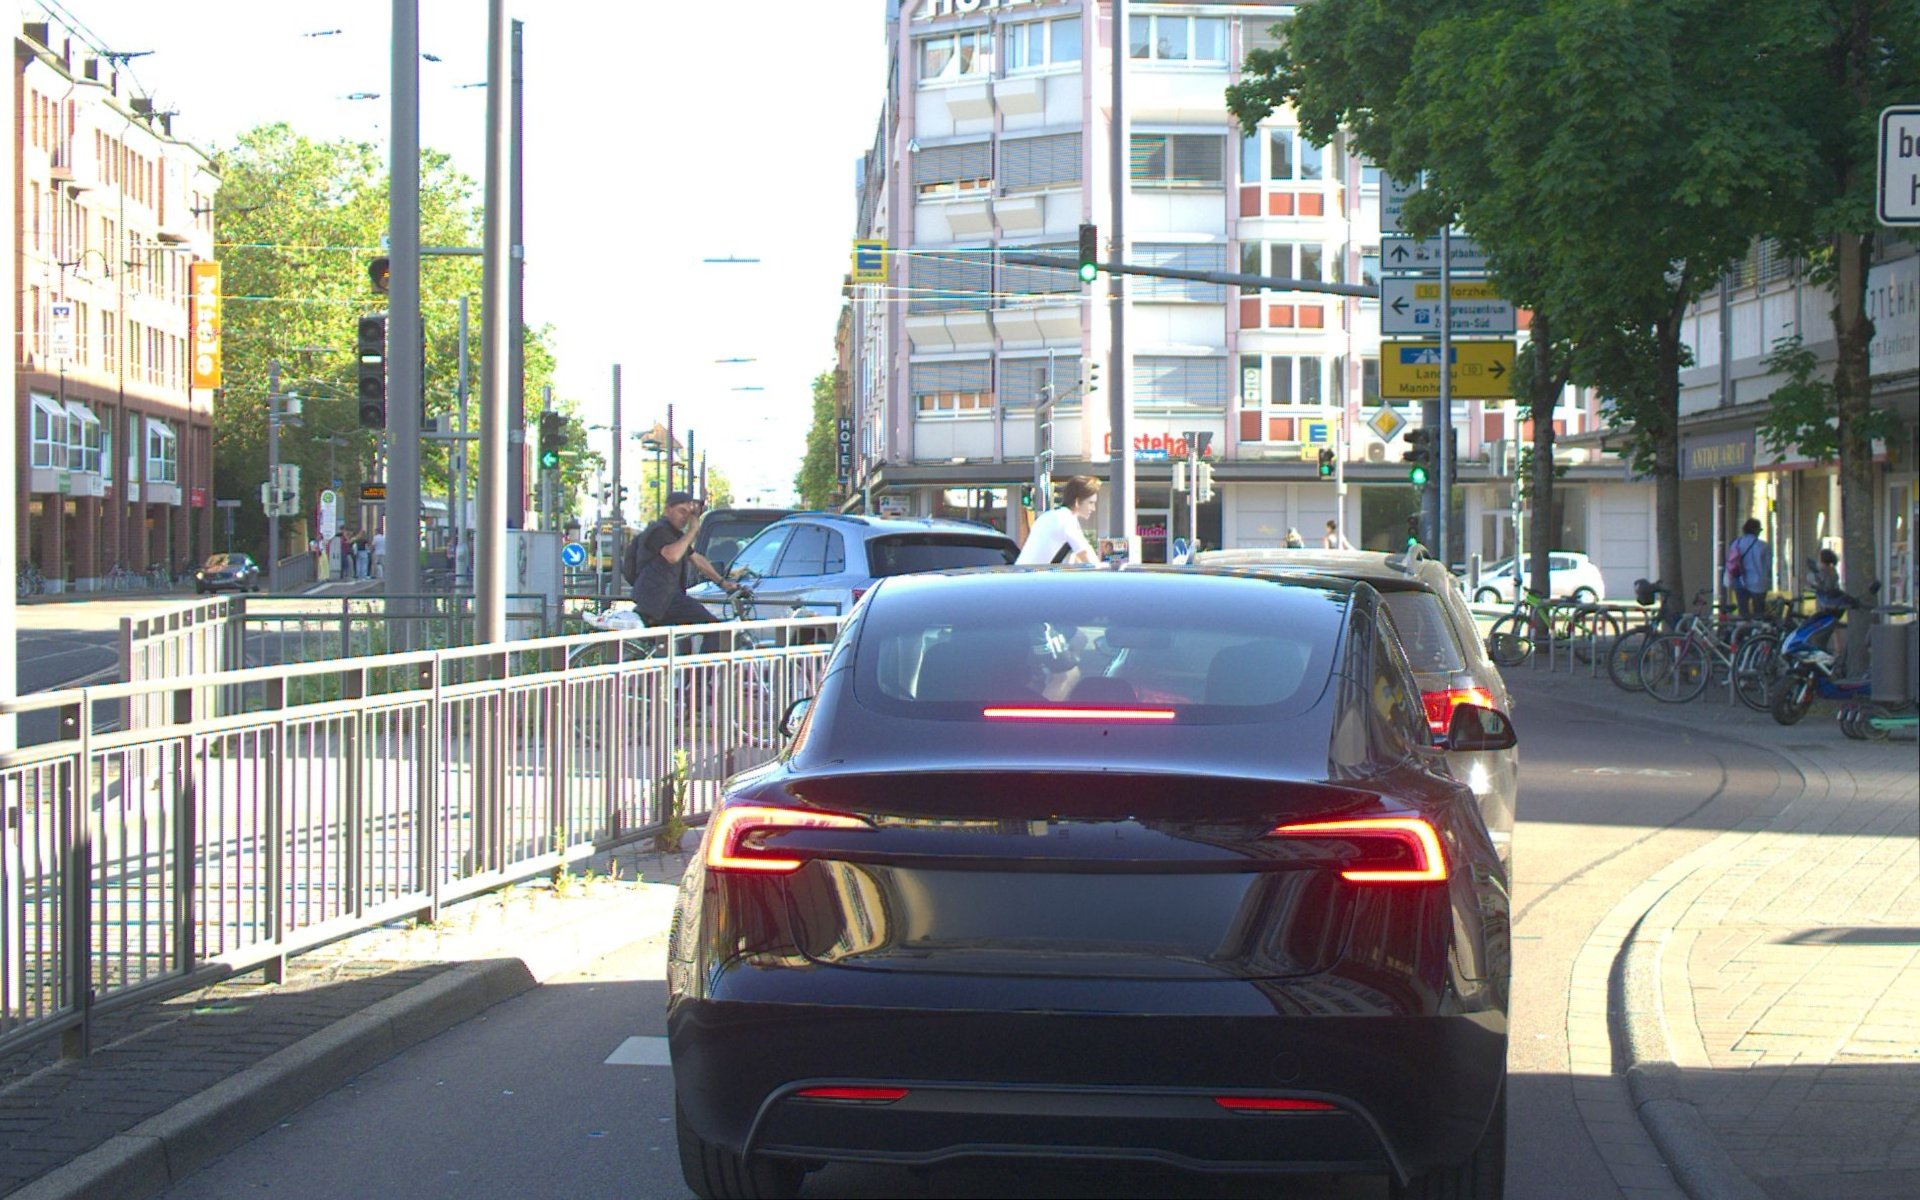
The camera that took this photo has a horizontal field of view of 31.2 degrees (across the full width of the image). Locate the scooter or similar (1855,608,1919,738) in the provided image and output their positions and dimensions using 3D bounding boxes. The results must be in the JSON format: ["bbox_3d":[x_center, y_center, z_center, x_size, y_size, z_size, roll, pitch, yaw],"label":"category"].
[{"bbox_3d":[7.621,0.577,27.320,0.964,1.023,0.160,0,1,3],"label":"scooter or similar"}]

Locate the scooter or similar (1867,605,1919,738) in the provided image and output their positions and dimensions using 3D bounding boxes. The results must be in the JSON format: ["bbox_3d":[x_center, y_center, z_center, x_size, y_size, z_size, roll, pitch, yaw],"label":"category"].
[{"bbox_3d":[7.610,0.560,26.921,0.964,1.039,0.160,0,1,3],"label":"scooter or similar"}]

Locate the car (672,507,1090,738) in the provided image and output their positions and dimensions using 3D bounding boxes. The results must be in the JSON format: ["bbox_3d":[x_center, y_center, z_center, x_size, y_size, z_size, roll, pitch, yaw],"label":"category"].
[{"bbox_3d":[-0.672,0.137,26.231,1.839,1.629,3.486,1,1,-27],"label":"car"}]

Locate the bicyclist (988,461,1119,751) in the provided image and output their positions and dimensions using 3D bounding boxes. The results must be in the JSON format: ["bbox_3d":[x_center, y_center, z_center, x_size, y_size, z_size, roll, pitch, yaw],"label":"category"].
[{"bbox_3d":[0.528,0.033,19.626,0.681,1.625,0.578,1,0,-3],"label":"bicyclist"}]

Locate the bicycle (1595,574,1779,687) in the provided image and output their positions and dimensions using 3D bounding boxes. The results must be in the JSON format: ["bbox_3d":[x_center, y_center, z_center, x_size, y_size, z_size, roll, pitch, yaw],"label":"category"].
[{"bbox_3d":[7.479,0.310,35.388,1.809,1.147,0.435,0,0,-4],"label":"bicycle"}]

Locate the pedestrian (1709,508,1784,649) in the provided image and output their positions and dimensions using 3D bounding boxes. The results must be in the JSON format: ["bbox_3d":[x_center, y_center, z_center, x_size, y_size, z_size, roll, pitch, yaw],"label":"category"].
[{"bbox_3d":[9.786,-0.271,42.788,0.843,1.715,0.879,1,0,11],"label":"pedestrian"}]

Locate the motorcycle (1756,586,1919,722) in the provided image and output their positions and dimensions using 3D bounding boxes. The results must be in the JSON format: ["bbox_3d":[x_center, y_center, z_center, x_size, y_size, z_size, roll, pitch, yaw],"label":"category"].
[{"bbox_3d":[7.732,0.456,29.258,1.787,1.126,0.504,1,0,-3],"label":"motorcycle"}]

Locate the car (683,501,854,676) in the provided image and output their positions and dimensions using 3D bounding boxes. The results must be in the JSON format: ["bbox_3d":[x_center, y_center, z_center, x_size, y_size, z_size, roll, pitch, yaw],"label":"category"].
[{"bbox_3d":[-1.876,-0.123,33.941,1.572,1.612,3.784,1,1,-3],"label":"car"}]

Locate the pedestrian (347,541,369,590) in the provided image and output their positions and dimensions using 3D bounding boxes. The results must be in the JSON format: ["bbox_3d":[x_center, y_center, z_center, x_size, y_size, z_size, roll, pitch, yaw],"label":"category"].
[{"bbox_3d":[-19.110,-1.099,109.187,0.583,1.525,0.638,1,0,-18],"label":"pedestrian"}]

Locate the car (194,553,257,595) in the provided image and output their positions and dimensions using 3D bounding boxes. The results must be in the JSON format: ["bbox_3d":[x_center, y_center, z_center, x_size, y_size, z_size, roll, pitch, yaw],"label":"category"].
[{"bbox_3d":[-26.178,-0.928,122.617,1.817,1.449,3.978,-1,1,-7],"label":"car"}]

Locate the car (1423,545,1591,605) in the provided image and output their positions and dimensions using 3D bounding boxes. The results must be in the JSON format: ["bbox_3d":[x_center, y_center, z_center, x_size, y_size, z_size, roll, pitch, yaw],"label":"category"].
[{"bbox_3d":[13.734,-0.623,86.387,3.840,1.427,1.804,0,-1,-5],"label":"car"}]

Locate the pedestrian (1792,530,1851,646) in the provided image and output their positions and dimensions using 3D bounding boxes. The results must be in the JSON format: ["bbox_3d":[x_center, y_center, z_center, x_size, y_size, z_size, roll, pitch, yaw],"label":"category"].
[{"bbox_3d":[10.631,-0.149,42.441,0.645,1.417,0.621,1,0,10],"label":"pedestrian"}]

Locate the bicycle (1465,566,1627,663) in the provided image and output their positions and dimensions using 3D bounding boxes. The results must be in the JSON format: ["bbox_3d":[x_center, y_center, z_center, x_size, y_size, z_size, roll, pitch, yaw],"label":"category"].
[{"bbox_3d":[7.230,0.180,42.460,1.890,1.152,0.480,-1,0,0],"label":"bicycle"}]

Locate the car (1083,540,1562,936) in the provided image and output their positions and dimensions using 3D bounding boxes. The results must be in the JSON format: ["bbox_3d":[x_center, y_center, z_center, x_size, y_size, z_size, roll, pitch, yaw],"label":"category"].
[{"bbox_3d":[1.521,0.473,15.145,1.765,1.439,4.528,1,1,4],"label":"car"}]

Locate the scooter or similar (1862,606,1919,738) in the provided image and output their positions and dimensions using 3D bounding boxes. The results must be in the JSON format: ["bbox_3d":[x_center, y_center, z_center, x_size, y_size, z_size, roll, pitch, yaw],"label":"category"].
[{"bbox_3d":[7.616,0.570,27.119,0.956,1.035,0.160,0,1,3],"label":"scooter or similar"}]

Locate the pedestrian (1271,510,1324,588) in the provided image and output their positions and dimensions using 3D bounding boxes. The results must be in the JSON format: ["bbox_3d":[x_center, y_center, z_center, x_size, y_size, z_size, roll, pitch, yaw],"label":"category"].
[{"bbox_3d":[6.884,-1.042,70.065,0.779,1.571,0.868,1,2,-15],"label":"pedestrian"}]

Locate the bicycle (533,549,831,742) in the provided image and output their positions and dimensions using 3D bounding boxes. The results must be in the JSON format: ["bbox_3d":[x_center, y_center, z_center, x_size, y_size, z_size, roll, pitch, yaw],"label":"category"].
[{"bbox_3d":[-1.798,0.287,22.335,1.820,1.207,0.642,0,1,-31],"label":"bicycle"}]

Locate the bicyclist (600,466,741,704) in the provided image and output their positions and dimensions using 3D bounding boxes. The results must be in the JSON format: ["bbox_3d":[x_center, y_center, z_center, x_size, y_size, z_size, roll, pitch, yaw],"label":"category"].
[{"bbox_3d":[-1.877,-0.098,22.285,0.681,1.518,0.635,1,0,-31],"label":"bicyclist"}]

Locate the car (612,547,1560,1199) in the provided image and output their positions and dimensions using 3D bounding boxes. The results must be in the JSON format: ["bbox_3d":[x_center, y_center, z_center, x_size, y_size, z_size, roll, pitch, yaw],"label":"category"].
[{"bbox_3d":[0.335,0.629,8.527,1.790,1.446,3.939,1,2,3],"label":"car"}]

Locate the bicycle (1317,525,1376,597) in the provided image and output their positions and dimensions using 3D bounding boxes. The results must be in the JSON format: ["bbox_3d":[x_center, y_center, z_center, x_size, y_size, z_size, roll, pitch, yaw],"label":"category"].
[{"bbox_3d":[7.873,-0.802,70.065,0.582,1.458,1.686,0,1,-16],"label":"bicycle"}]

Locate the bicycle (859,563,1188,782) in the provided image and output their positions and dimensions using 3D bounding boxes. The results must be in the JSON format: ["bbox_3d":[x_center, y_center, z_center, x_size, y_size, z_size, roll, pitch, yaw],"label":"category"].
[{"bbox_3d":[0.350,0.407,19.623,1.820,1.207,0.582,1,0,-3],"label":"bicycle"}]

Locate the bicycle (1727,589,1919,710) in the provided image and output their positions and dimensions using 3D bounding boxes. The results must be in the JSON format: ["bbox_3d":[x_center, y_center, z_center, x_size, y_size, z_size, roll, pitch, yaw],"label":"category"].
[{"bbox_3d":[7.951,0.441,31.334,1.849,1.052,0.399,-1,1,-11],"label":"bicycle"}]

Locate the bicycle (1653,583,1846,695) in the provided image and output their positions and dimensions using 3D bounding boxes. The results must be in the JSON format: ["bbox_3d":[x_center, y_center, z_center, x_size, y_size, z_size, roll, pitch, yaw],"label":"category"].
[{"bbox_3d":[7.650,0.376,33.353,1.767,1.053,0.458,1,0,5],"label":"bicycle"}]
